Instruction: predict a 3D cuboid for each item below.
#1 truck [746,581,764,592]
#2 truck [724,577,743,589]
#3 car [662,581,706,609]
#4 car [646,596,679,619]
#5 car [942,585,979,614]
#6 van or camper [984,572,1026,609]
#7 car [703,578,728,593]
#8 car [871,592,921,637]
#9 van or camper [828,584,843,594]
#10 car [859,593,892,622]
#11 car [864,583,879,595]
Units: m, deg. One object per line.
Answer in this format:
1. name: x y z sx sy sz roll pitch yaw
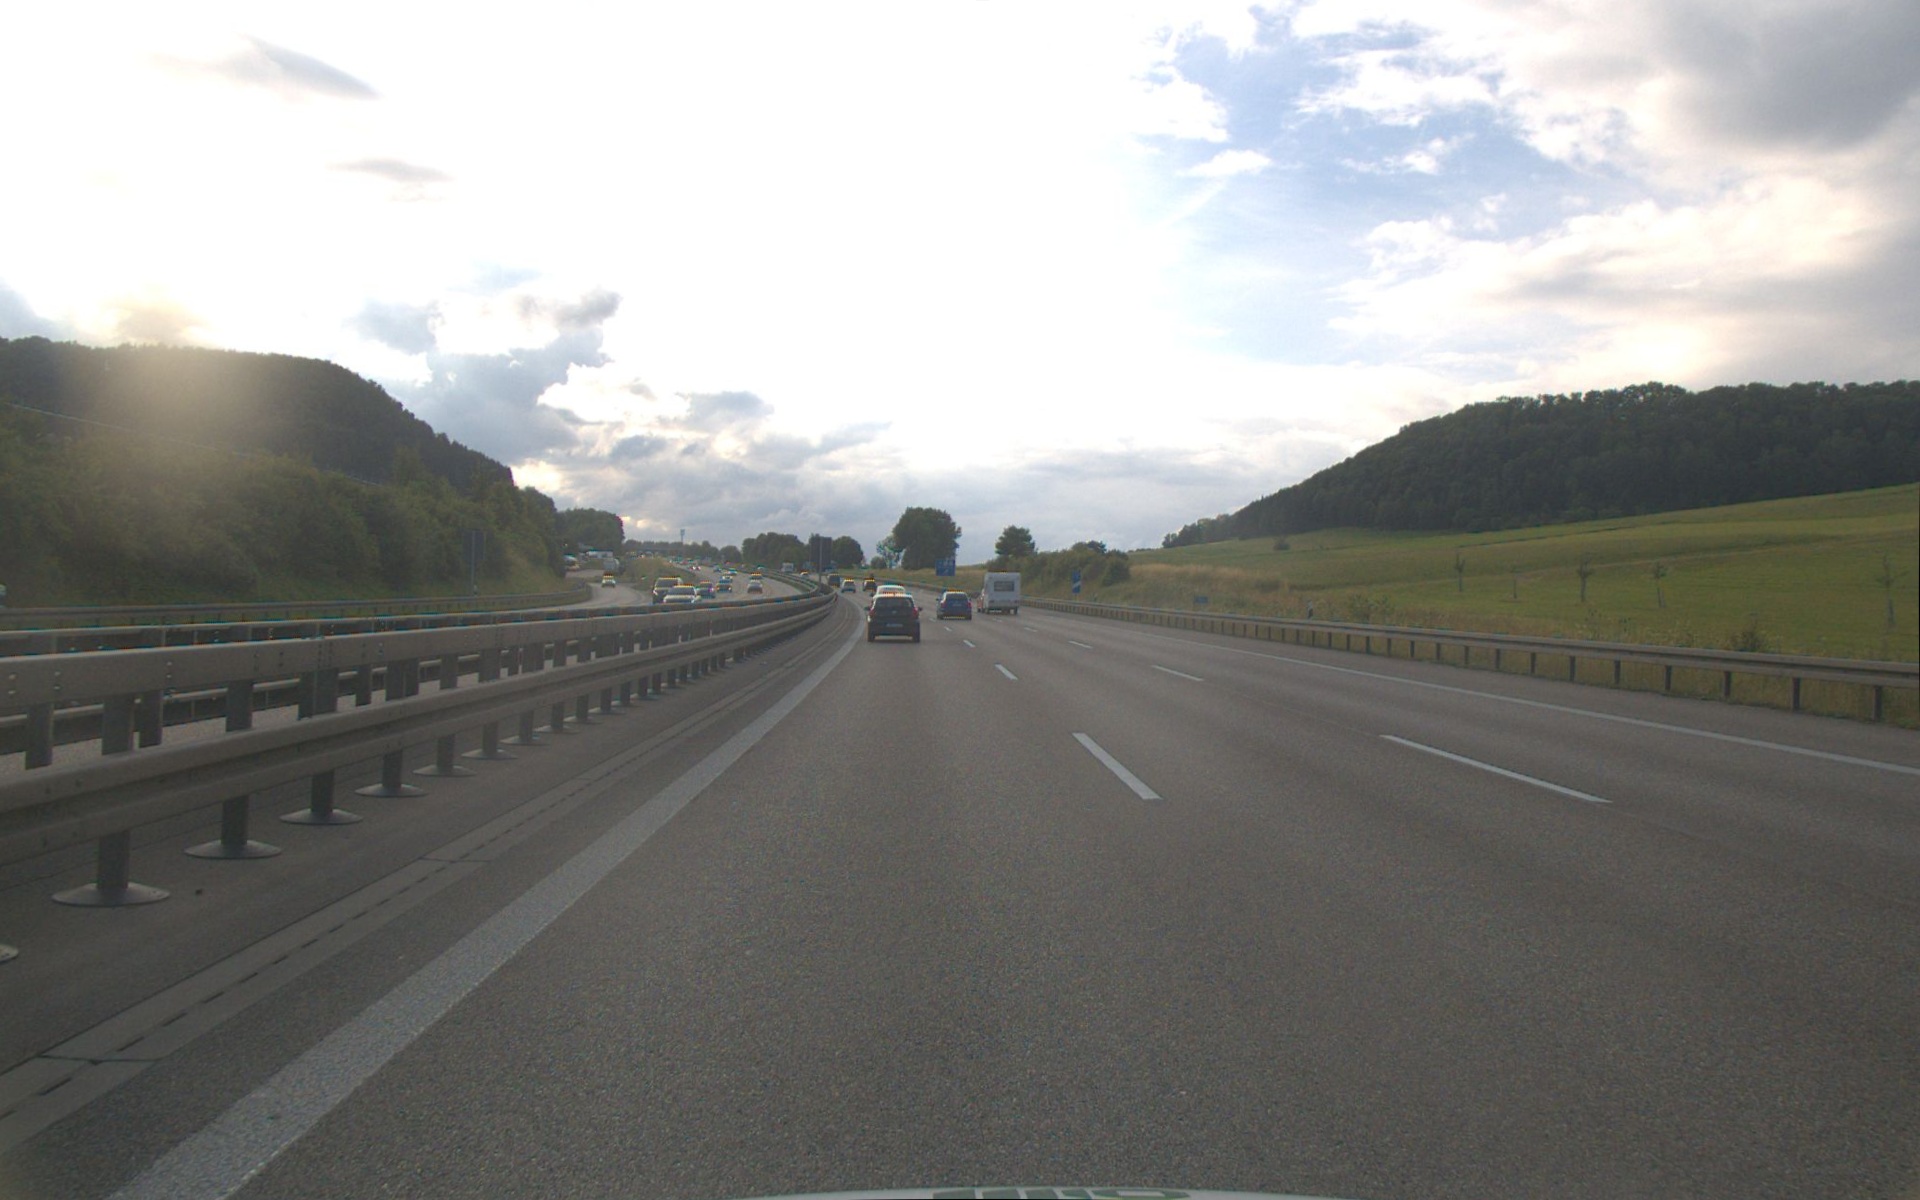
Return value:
1. truck: -23.568 -1.565 190.471 1.956 1.243 3.993 -1 1 -8
2. truck: -26.479 -2.003 193.152 1.954 1.377 3.943 -1 1 -4
3. car: -15.006 -0.285 90.186 1.954 1.455 4.583 1 0 -4
4. car: -21.343 0.519 118.730 1.740 1.624 3.998 1 0 -3
5. car: 0.009 -0.037 87.913 1.732 1.458 3.997 2 0 -4
6. van or camper: 2.797 -0.585 103.968 2.495 2.278 5.329 0 0 0
7. car: -23.050 -1.368 156.101 1.954 1.377 4.352 -1 1 -4
8. car: -2.011 0.427 51.959 1.507 1.371 3.675 0 0 -2
9. van or camper: -18.863 -1.715 251.103 1.925 1.458 4.001 1 0 1
10. car: -4.123 0.352 80.609 1.534 1.404 3.997 0 0 -3
11. car: -11.932 -1.494 223.198 1.917 1.601 4.000 1 0 0
